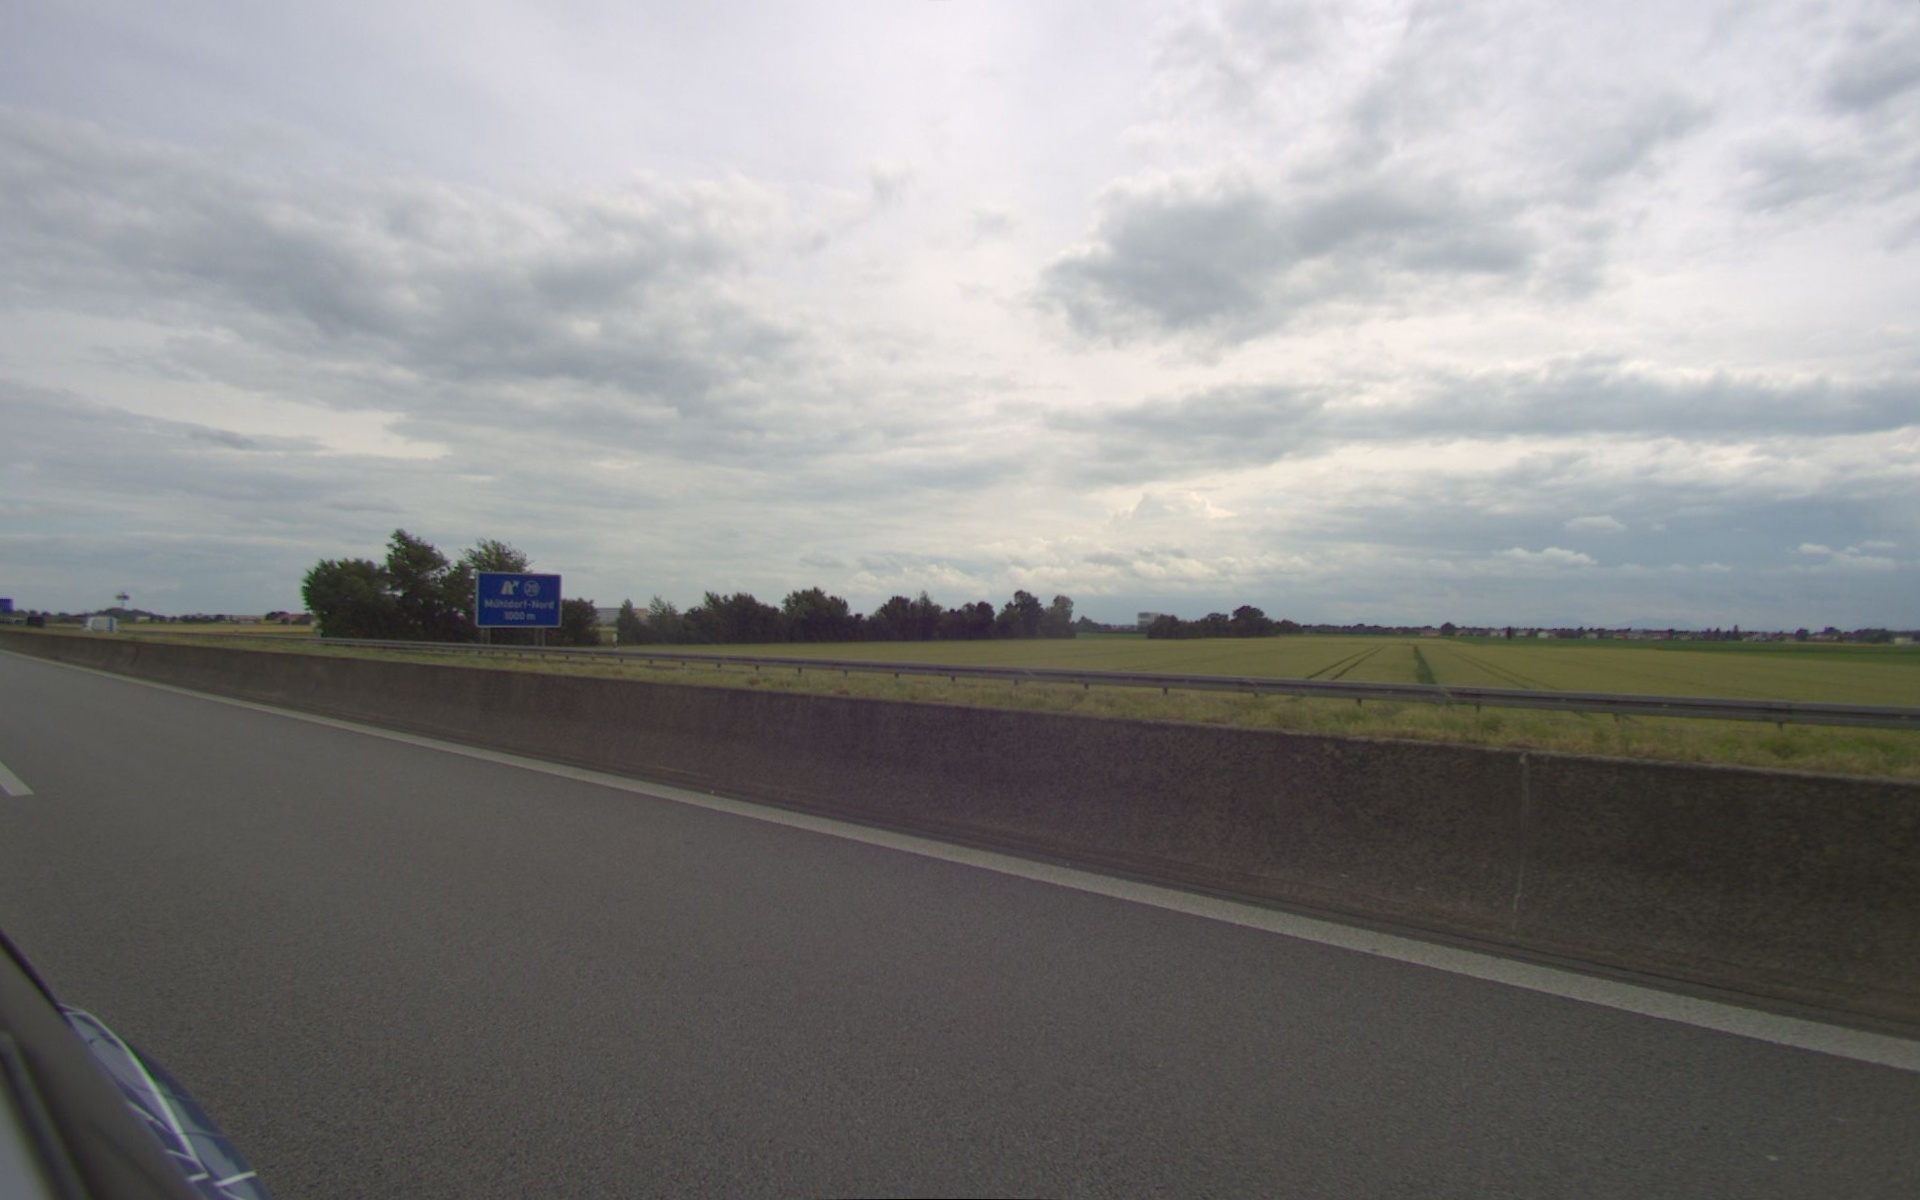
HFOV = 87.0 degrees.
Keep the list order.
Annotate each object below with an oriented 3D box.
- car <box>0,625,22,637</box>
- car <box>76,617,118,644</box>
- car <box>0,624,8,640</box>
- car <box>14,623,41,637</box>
[{"bbox_3d":[-122.514,3.939,130.641,4.180,1.503,1.671,-1,-2,40],"label":"car"},{"bbox_3d":[-69.423,2.423,81.371,4.906,2.125,2.008,-1,-2,44],"label":"car"},{"bbox_3d":[-96.255,3.173,100.744,4.180,1.503,1.671,-1,-2,40],"label":"car"},{"bbox_3d":[-106.365,3.424,115.418,4.180,1.503,1.671,-1,-2,40],"label":"car"}]
